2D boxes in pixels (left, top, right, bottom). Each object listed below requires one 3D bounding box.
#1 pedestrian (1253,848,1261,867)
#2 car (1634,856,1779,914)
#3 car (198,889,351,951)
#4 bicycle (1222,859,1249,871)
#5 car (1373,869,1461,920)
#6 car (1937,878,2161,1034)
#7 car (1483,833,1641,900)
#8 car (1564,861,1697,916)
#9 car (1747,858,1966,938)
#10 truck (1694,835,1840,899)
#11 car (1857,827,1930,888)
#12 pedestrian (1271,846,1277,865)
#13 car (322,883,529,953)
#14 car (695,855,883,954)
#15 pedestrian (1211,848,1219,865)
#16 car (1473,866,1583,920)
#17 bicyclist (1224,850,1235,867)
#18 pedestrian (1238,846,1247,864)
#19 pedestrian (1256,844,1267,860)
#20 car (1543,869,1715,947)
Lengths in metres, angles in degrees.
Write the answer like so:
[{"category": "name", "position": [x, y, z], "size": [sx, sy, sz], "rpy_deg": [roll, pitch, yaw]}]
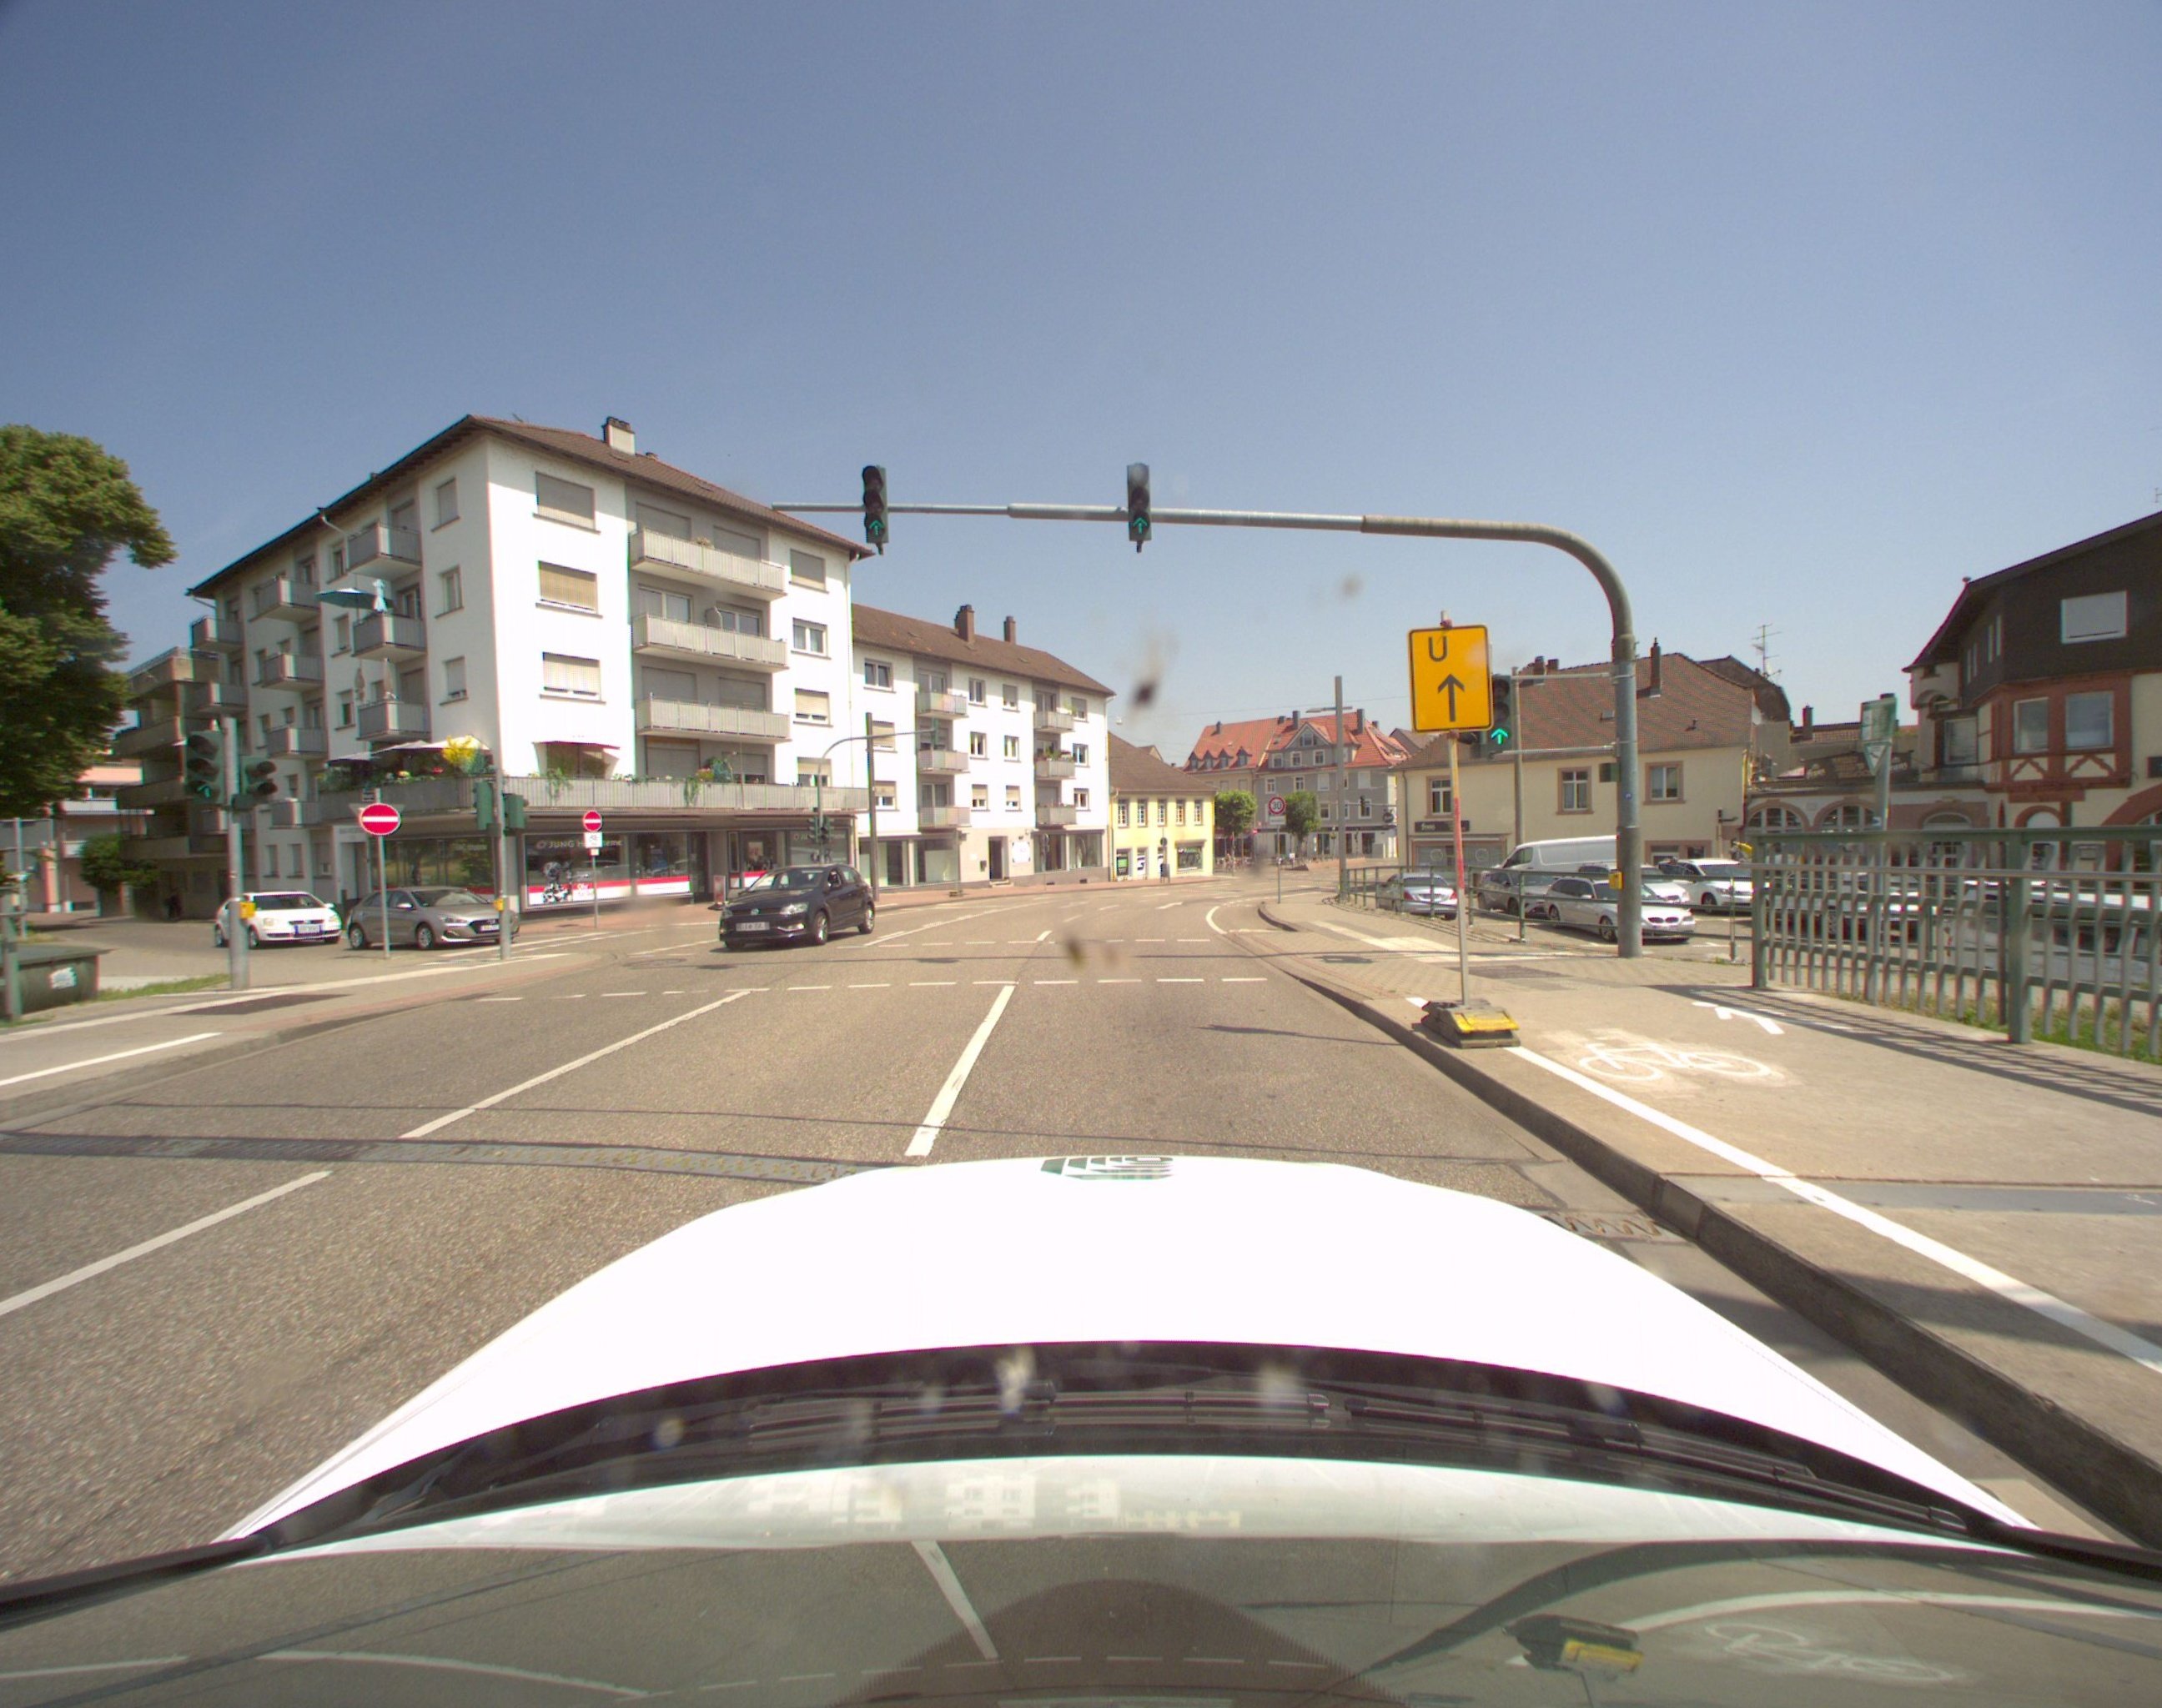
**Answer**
[{"category": "pedestrian", "position": [18.435, 0.337, 85.272], "size": [0.763, 2.013, 0.564], "rpy_deg": [0, 1, 14]}, {"category": "car", "position": [19.435, 0.903, 25.550], "size": [1.742, 1.643, 4.263], "rpy_deg": [0, 0, 8]}, {"category": "car", "position": [-21.742, 1.754, 21.922], "size": [4.329, 1.420, 1.713], "rpy_deg": [-3, 1, 29]}, {"category": "bicycle", "position": [14.270, 1.039, 75.390], "size": [2.346, 1.051, 1.072], "rpy_deg": [0, 1, 1]}, {"category": "car", "position": [11.110, 1.288, 27.207], "size": [1.742, 1.471, 4.263], "rpy_deg": [0, 0, 8]}, {"category": "car", "position": [14.104, 1.292, 10.541], "size": [1.883, 1.711, 4.344], "rpy_deg": [0, 2, 8]}, {"category": "car", "position": [20.166, 0.482, 34.263], "size": [5.560, 2.627, 2.257], "rpy_deg": [0, 1, 35]}, {"category": "car", "position": [16.908, 0.994, 25.322], "size": [1.742, 1.519, 4.263], "rpy_deg": [0, 0, 8]}, {"category": "car", "position": [18.642, 0.963, 19.897], "size": [1.742, 1.705, 4.263], "rpy_deg": [0, 0, 8]}, {"category": "truck", "position": [25.308, 0.399, 30.245], "size": [4.017, 2.214, 1.825], "rpy_deg": [1, 2, 36]}, {"category": "car", "position": [28.903, 0.059, 28.930], "size": [4.022, 2.013, 1.642], "rpy_deg": [-2, 2, -43]}, {"category": "pedestrian", "position": [20.346, 0.157, 85.977], "size": [0.605, 2.013, 0.557], "rpy_deg": [0, 1, 14]}, {"category": "car", "position": [-15.411, 1.499, 19.166], "size": [4.334, 1.420, 1.711], "rpy_deg": [-3, 0, 19]}, {"category": "car", "position": [-5.121, 0.833, 14.902], "size": [1.668, 1.488, 3.960], "rpy_deg": [-3, -1, 5]}, {"category": "pedestrian", "position": [14.306, 0.266, 86.982], "size": [0.823, 1.873, 0.868], "rpy_deg": [0, 1, 6]}, {"category": "car", "position": [14.289, 1.189, 26.313], "size": [1.742, 1.519, 4.263], "rpy_deg": [0, 0, 8]}, {"category": "bicyclist", "position": [13.733, 0.393, 75.367], "size": [0.913, 1.538, 0.650], "rpy_deg": [0, 1, 2]}, {"category": "pedestrian", "position": [17.395, 0.131, 87.609], "size": [0.789, 1.965, 0.535], "rpy_deg": [0, 1, 22]}, {"category": "pedestrian", "position": [22.648, -0.234, 102.241], "size": [1.020, 1.980, 1.027], "rpy_deg": [1, 2, 36]}, {"category": "car", "position": [13.860, 1.275, 20.979], "size": [1.917, 1.579, 4.497], "rpy_deg": [0, 2, 8]}]
